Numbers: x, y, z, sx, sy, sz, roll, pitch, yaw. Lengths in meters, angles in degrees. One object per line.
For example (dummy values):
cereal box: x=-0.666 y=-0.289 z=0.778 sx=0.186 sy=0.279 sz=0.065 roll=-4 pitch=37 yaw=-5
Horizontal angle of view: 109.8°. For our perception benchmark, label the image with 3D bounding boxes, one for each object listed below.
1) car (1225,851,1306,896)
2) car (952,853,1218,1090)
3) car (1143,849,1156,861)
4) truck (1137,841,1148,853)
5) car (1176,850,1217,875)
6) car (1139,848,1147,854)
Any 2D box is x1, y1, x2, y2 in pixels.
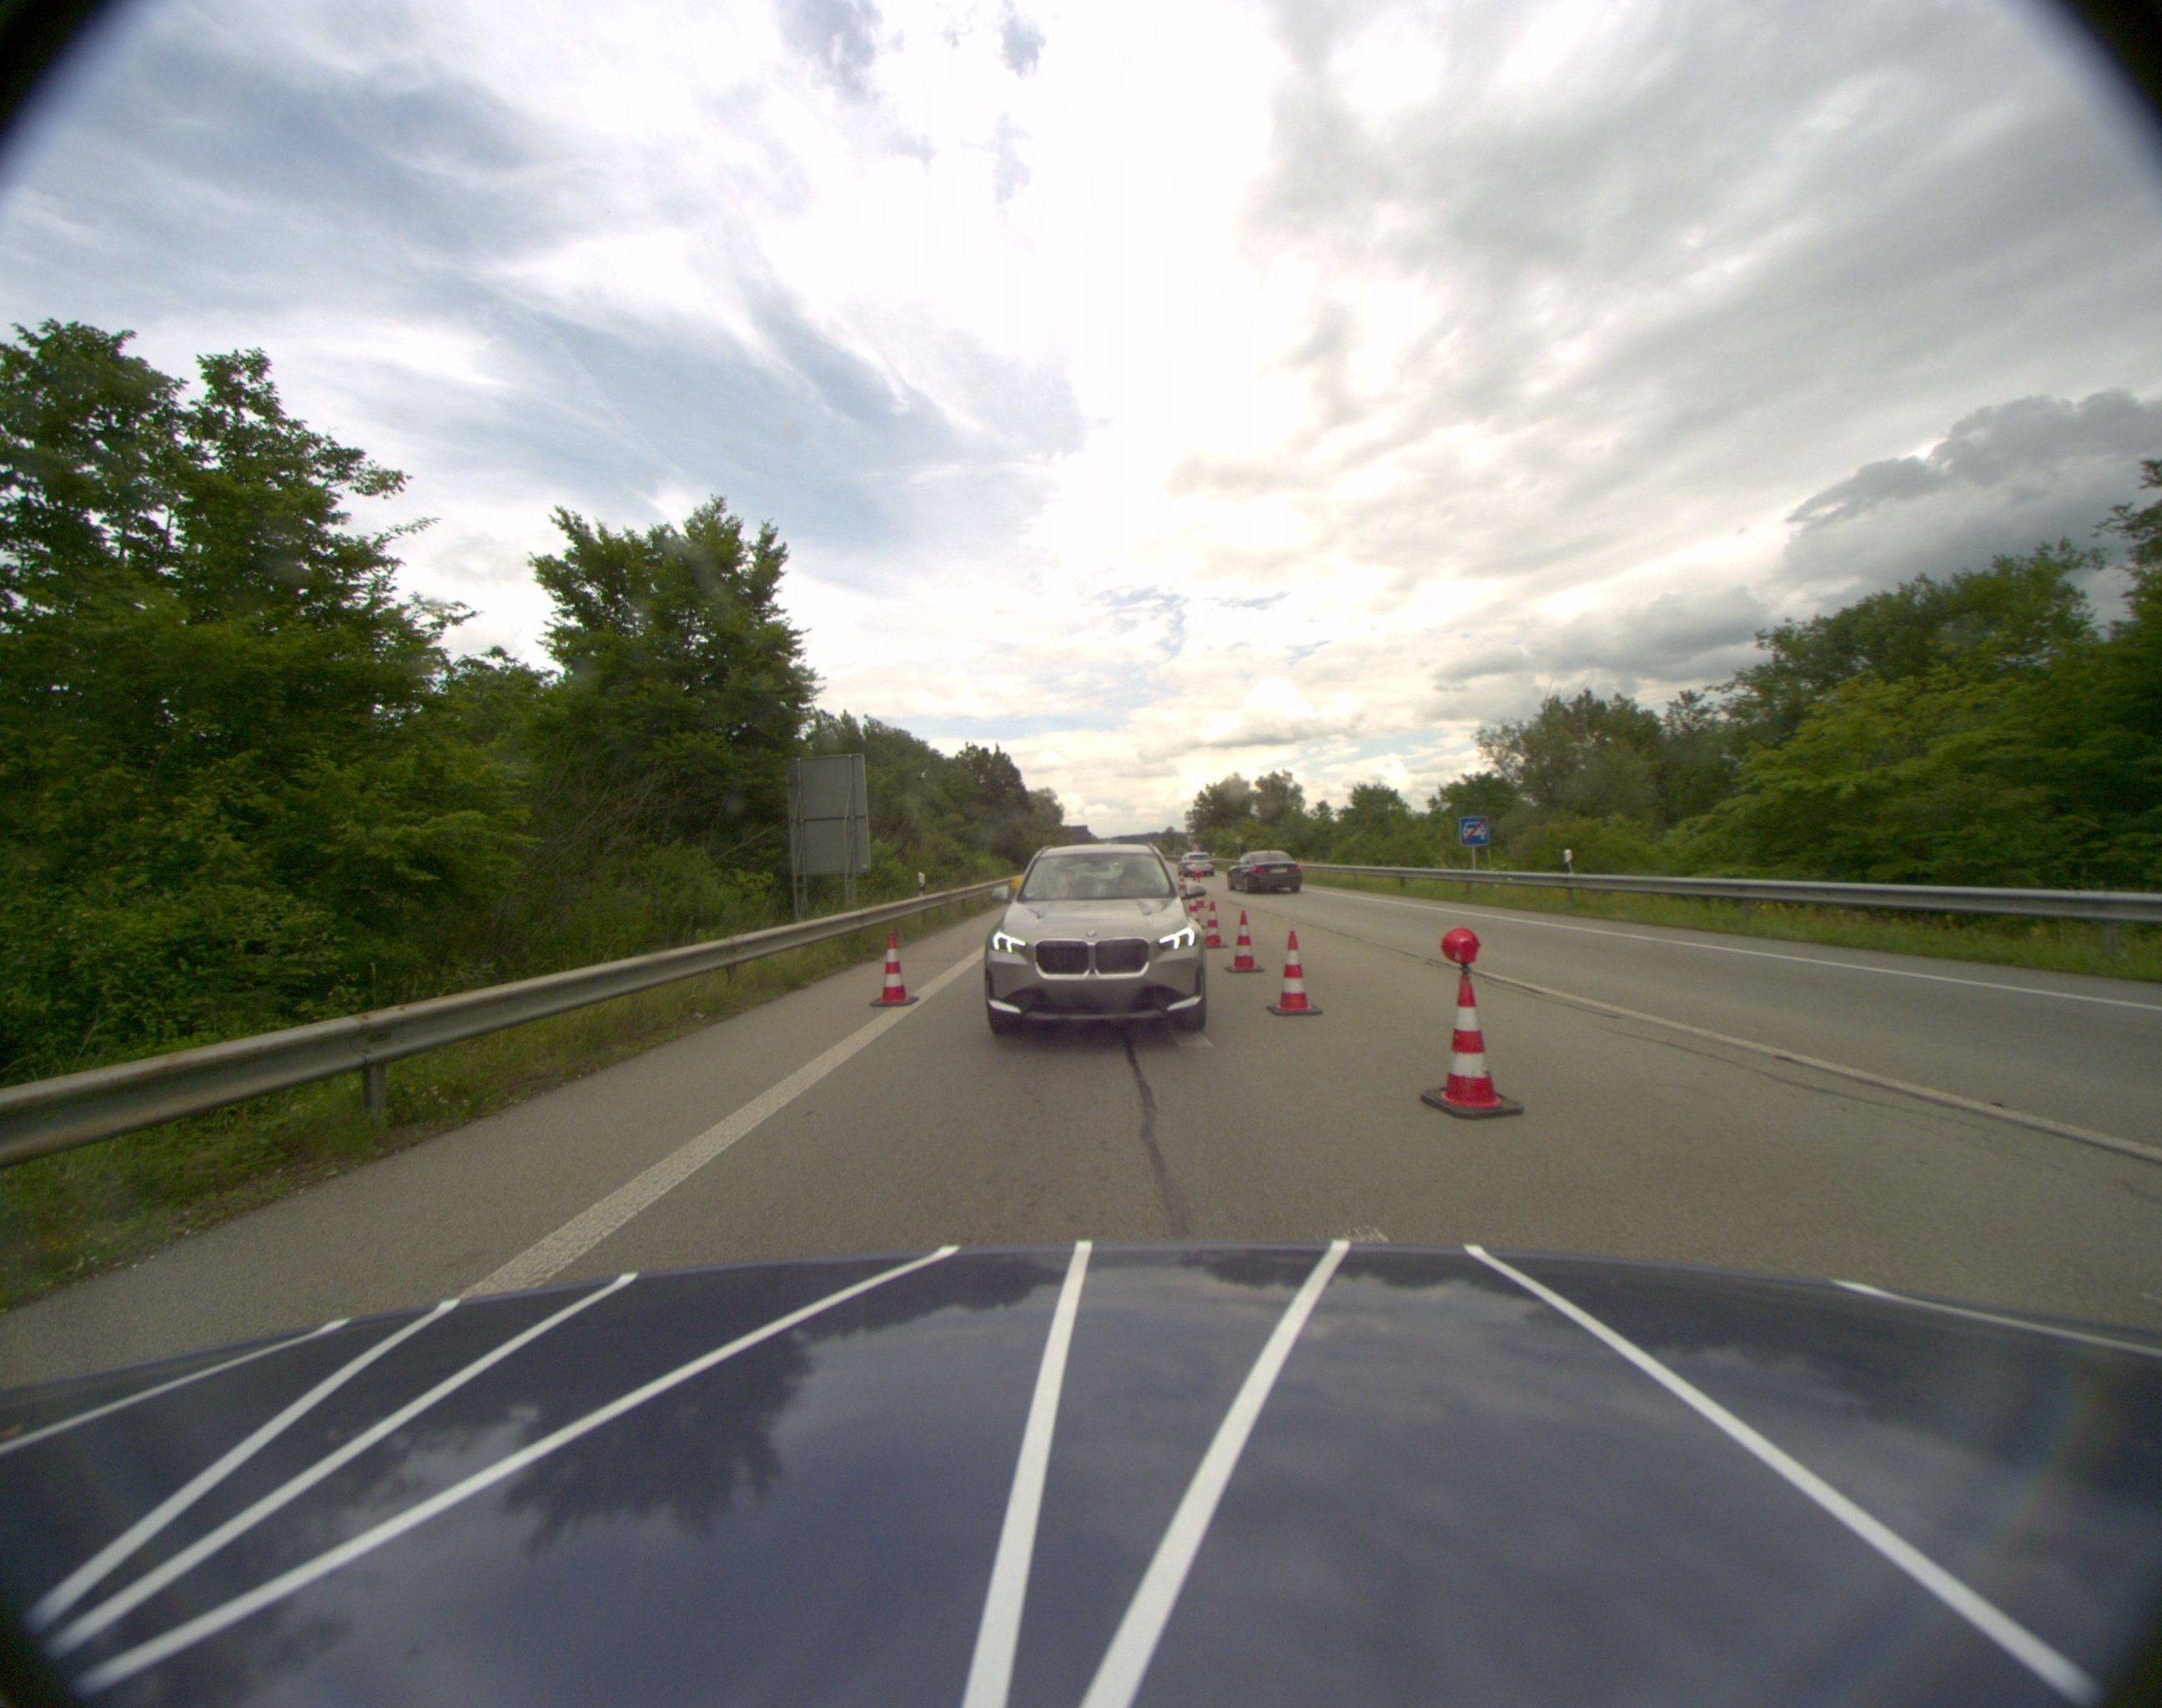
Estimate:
car: x=6.412 y=0.626 z=26.932 sx=1.713 sy=1.428 sz=4.336 roll=-2 pitch=0 yaw=-1
car: x=0.152 y=0.833 z=7.538 sx=1.817 sy=1.598 sz=4.434 roll=-2 pitch=0 yaw=3
car: x=11.536 y=0.147 z=128.281 sx=2.034 sy=1.976 sz=5.316 roll=-2 pitch=0 yaw=3
truck: x=19.263 y=-2.205 z=237.317 sx=3.113 sy=3.682 sz=9.544 roll=-2 pitch=0 yaw=3
car: x=6.896 y=0.490 z=45.678 sx=1.683 sy=1.393 sz=4.373 roll=-2 pitch=0 yaw=-1
car: x=16.356 y=-0.880 z=201.524 sx=1.929 sy=1.597 sz=4.533 roll=-2 pitch=0 yaw=3
